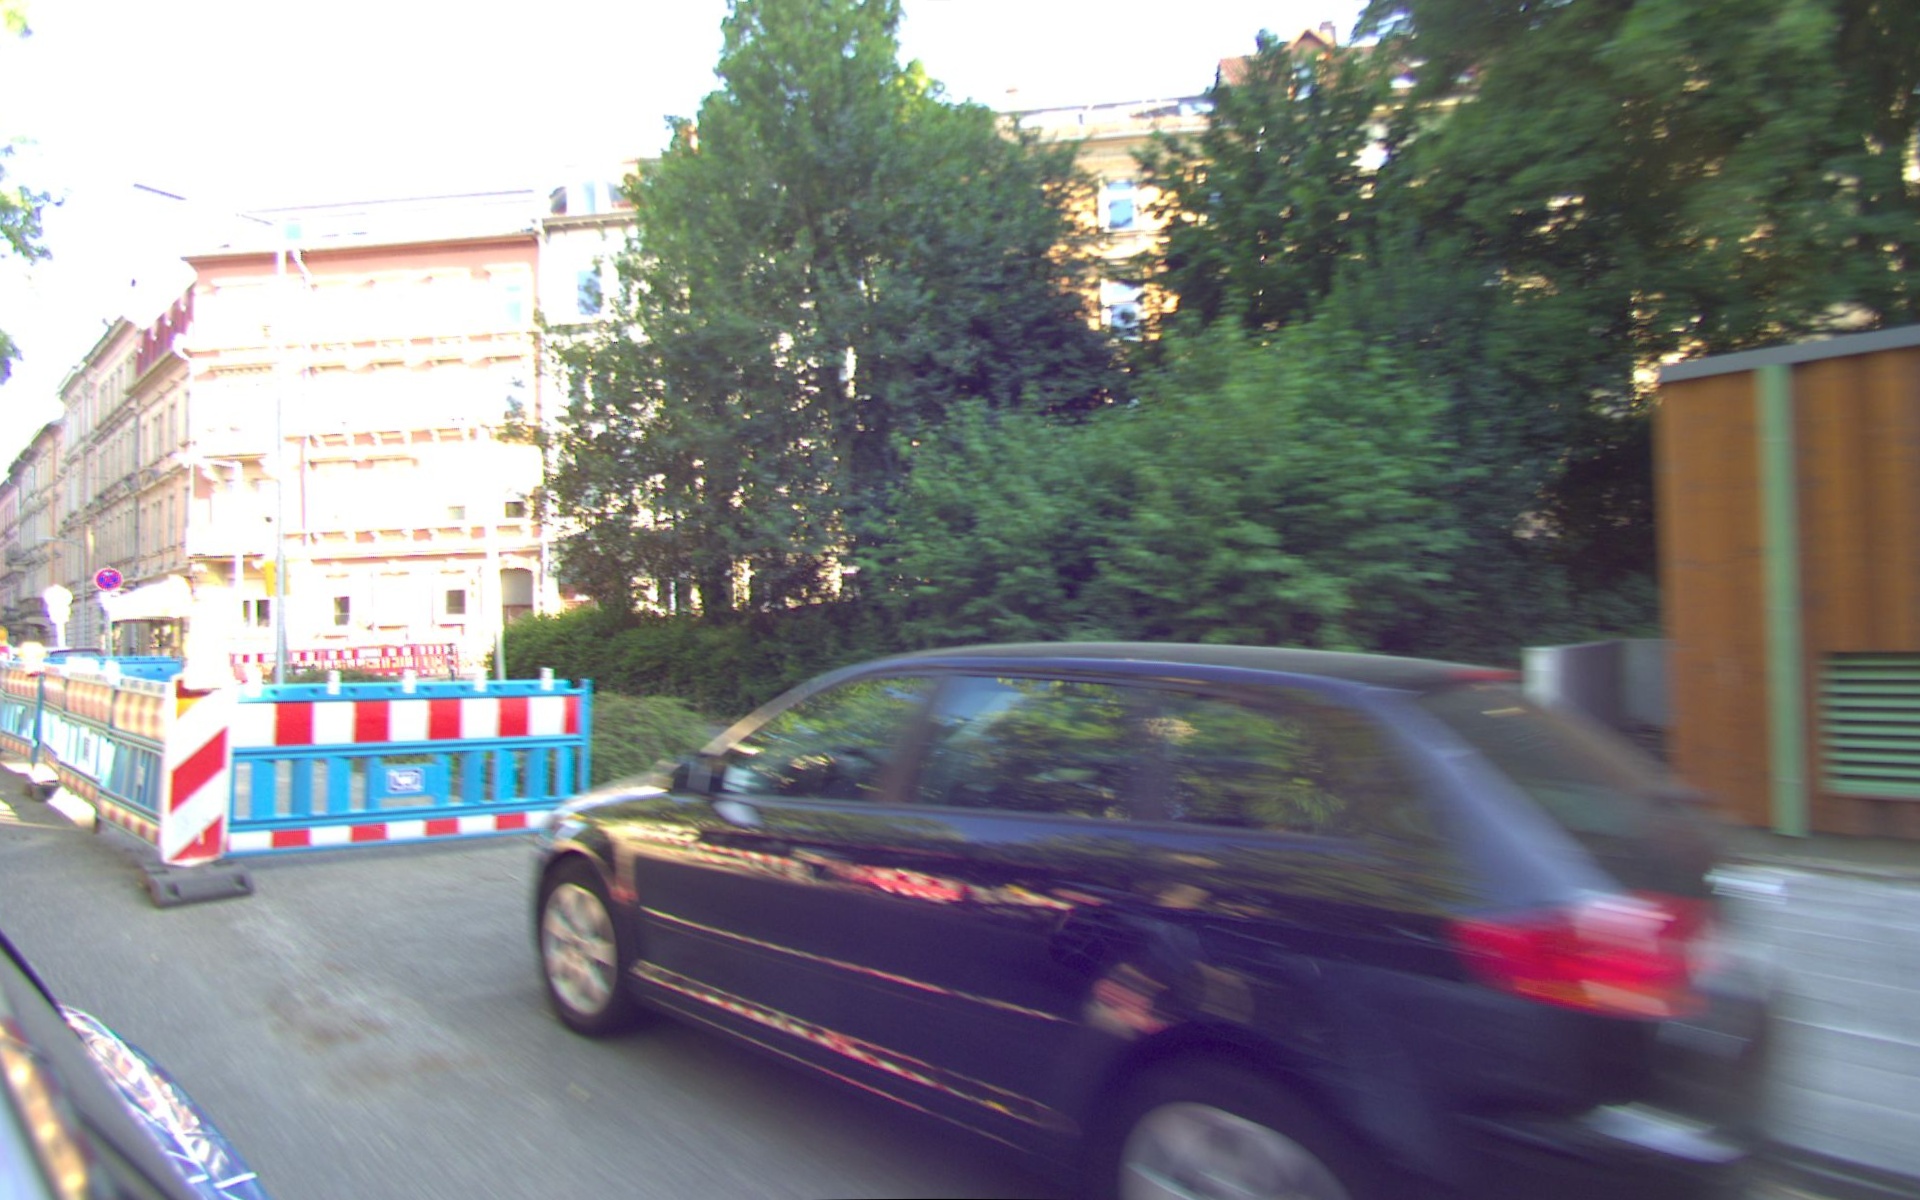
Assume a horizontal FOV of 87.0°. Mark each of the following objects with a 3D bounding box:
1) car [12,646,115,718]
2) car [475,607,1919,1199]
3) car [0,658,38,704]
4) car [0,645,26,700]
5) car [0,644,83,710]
[{"bbox_3d":[-25.358,2.258,28.587,4.193,1.818,1.681,-1,-3,42],"label":"car"},{"bbox_3d":[0.235,0.778,3.174,4.193,1.410,1.681,-1,-3,42],"label":"car"},{"bbox_3d":[-36.260,3.022,38.229,4.193,1.581,1.681,-1,-3,42],"label":"car"},{"bbox_3d":[-40.116,2.978,41.888,4.193,2.132,1.681,-1,-3,42],"label":"car"},{"bbox_3d":[-28.873,2.346,31.601,4.193,1.854,1.681,-1,-3,42],"label":"car"}]
